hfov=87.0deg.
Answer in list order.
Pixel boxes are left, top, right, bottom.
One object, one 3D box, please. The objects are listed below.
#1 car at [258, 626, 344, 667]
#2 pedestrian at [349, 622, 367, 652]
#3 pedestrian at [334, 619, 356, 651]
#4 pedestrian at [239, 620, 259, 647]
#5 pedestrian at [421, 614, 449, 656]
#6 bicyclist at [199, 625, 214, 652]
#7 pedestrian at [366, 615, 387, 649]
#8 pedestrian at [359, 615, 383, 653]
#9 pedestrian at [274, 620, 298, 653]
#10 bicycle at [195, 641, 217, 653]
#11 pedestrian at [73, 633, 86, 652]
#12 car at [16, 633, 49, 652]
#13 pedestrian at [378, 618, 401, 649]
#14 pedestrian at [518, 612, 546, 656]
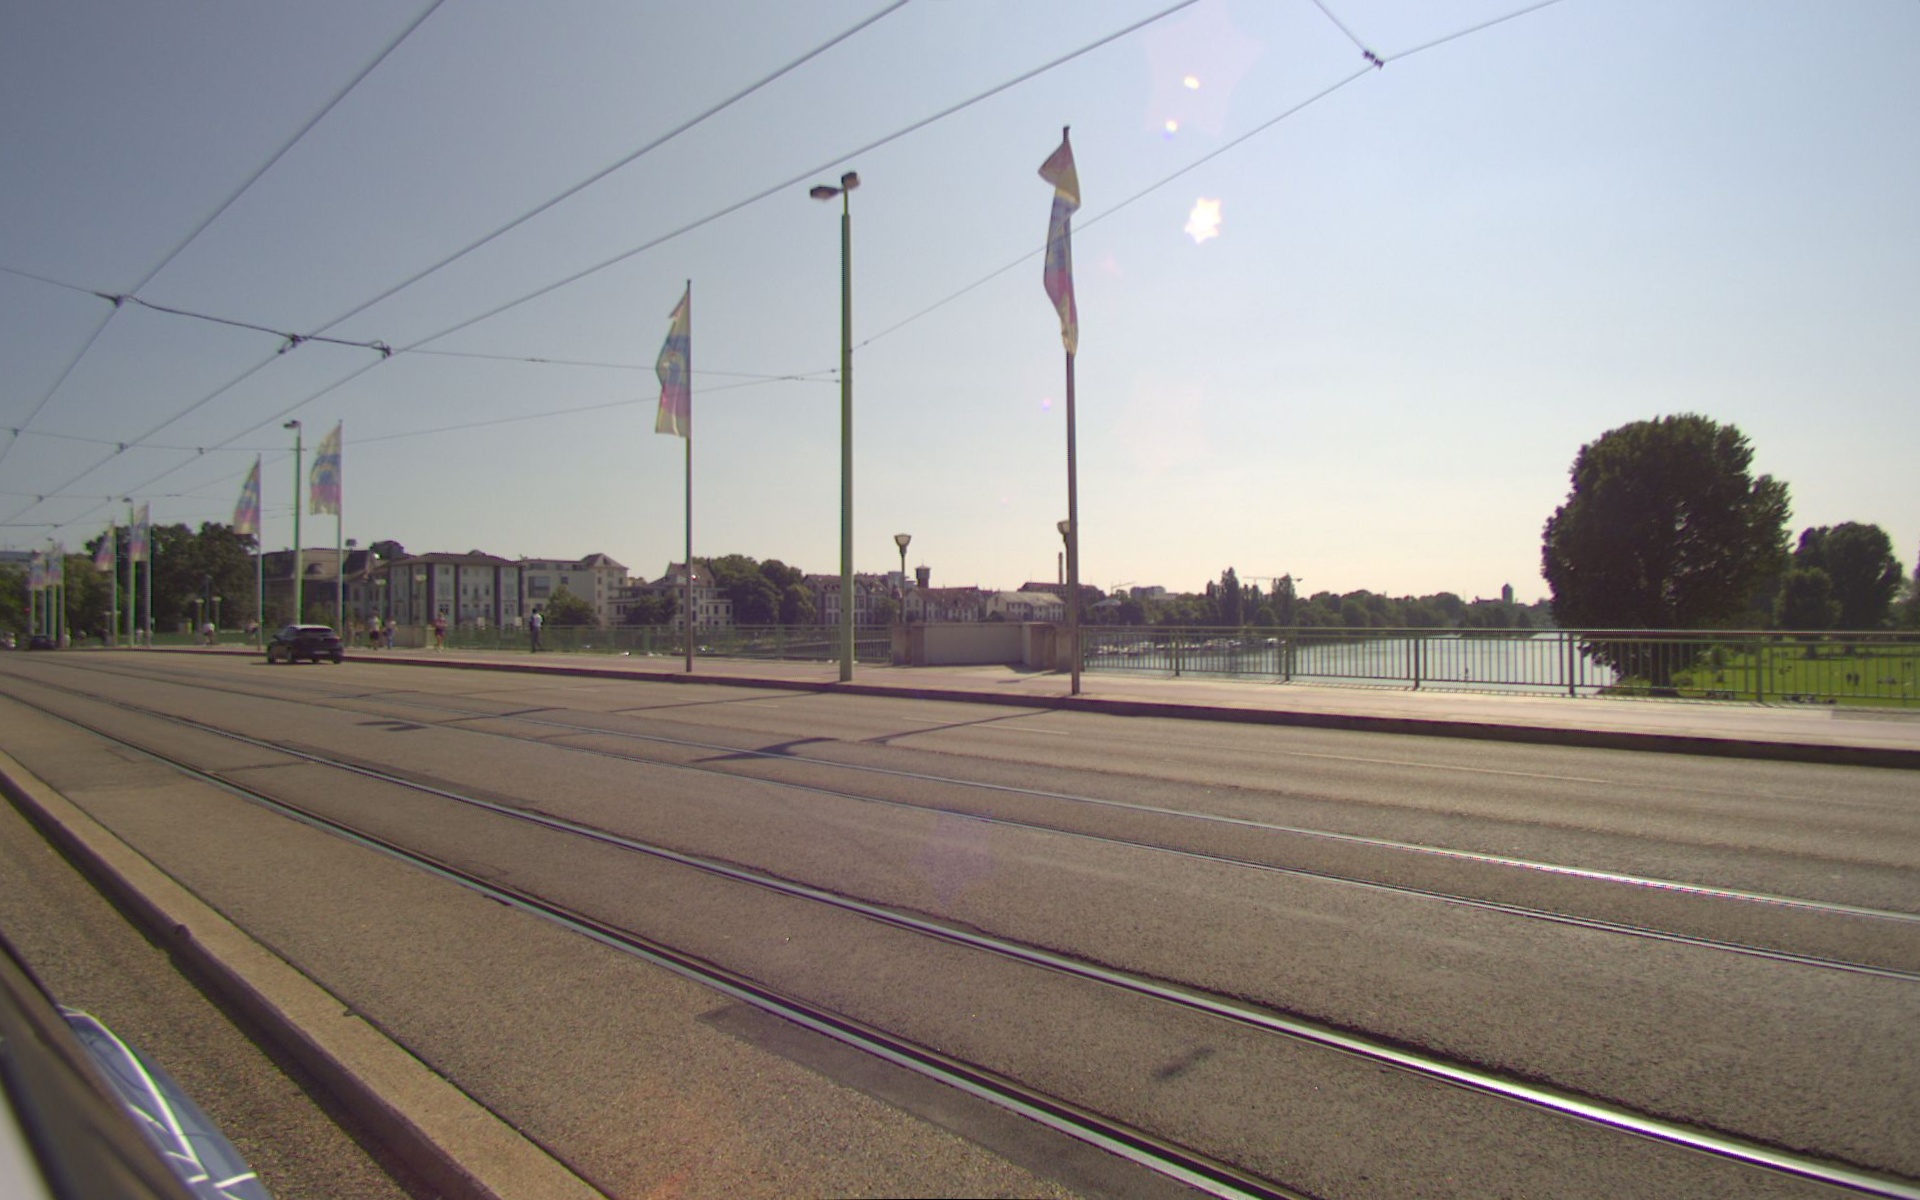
[{"bbox_3d":[-24.729,1.715,37.940,3.900,1.465,1.698,-1,-2,41],"label":"car"},{"bbox_3d":[-30.718,1.883,51.654,0.788,1.448,0.540,-1,0,41],"label":"pedestrian"},{"bbox_3d":[-31.175,1.766,51.286,1.022,1.611,0.619,-1,0,41],"label":"pedestrian"},{"bbox_3d":[-46.446,2.178,66.098,1.022,1.712,0.777,-1,1,41],"label":"pedestrian"},{"bbox_3d":[-22.098,1.476,42.600,1.022,1.703,0.677,-1,0,41],"label":"pedestrian"},{"bbox_3d":[-46.981,2.369,63.085,0.621,1.663,0.657,-2,-1,42],"label":"bicyclist"},{"bbox_3d":[-29.874,1.629,51.796,1.022,1.712,0.584,-1,0,41],"label":"pedestrian"},{"bbox_3d":[-27.664,1.598,47.542,1.022,1.712,0.663,-1,0,41],"label":"pedestrian"},{"bbox_3d":[-36.837,1.982,55.316,1.022,1.712,0.777,-1,1,41],"label":"pedestrian"},{"bbox_3d":[-47.002,2.906,63.096,2.172,0.721,0.658,-1,-1,42],"label":"bicycle"},{"bbox_3d":[-84.856,4.082,97.520,1.022,1.712,0.777,-1,1,41],"label":"pedestrian"},{"bbox_3d":[-78.039,3.560,85.147,3.999,1.447,1.650,-1,-1,42],"label":"car"},{"bbox_3d":[-26.863,1.586,47.651,1.022,1.425,0.584,-1,0,41],"label":"pedestrian"},{"bbox_3d":[-16.954,1.341,40.060,1.022,1.712,0.584,-1,0,41],"label":"pedestrian"}]
